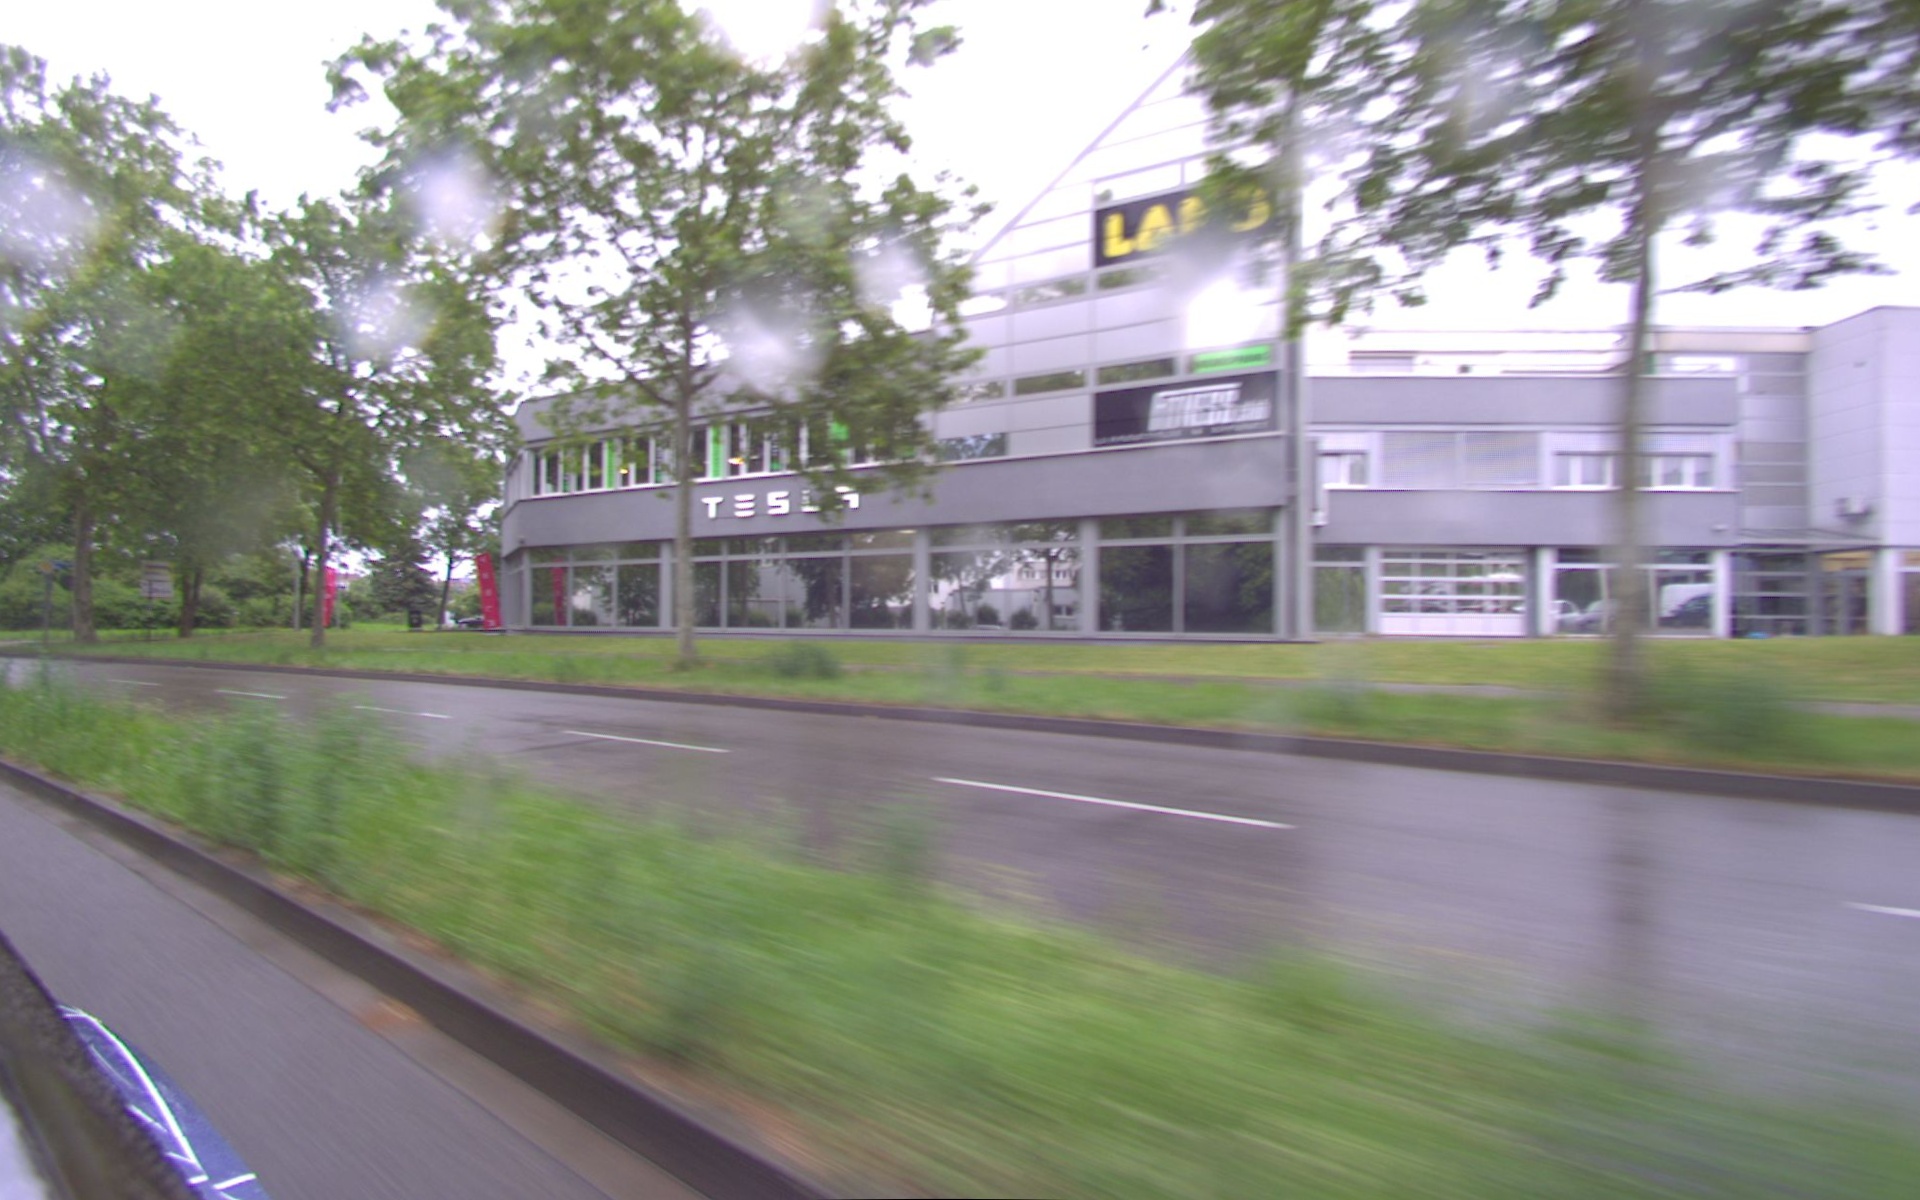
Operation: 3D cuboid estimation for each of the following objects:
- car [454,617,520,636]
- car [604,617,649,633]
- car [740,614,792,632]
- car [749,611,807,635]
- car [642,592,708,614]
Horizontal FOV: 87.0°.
[{"bbox_3d":[-35.579,1.983,76.177,4.238,1.368,1.596,0,-1,5],"label":"car"},{"bbox_3d":[-34.659,2.623,105.289,4.151,1.640,1.596,0,-1,5],"label":"car"},{"bbox_3d":[-16.794,1.973,87.723,4.148,1.506,1.597,0,-1,2],"label":"car"},{"bbox_3d":[-14.220,1.759,79.124,4.133,1.827,1.823,0,-1,-32],"label":"car"},{"bbox_3d":[-24.609,0.276,87.477,5.163,1.878,1.792,0,-1,4],"label":"car"}]
